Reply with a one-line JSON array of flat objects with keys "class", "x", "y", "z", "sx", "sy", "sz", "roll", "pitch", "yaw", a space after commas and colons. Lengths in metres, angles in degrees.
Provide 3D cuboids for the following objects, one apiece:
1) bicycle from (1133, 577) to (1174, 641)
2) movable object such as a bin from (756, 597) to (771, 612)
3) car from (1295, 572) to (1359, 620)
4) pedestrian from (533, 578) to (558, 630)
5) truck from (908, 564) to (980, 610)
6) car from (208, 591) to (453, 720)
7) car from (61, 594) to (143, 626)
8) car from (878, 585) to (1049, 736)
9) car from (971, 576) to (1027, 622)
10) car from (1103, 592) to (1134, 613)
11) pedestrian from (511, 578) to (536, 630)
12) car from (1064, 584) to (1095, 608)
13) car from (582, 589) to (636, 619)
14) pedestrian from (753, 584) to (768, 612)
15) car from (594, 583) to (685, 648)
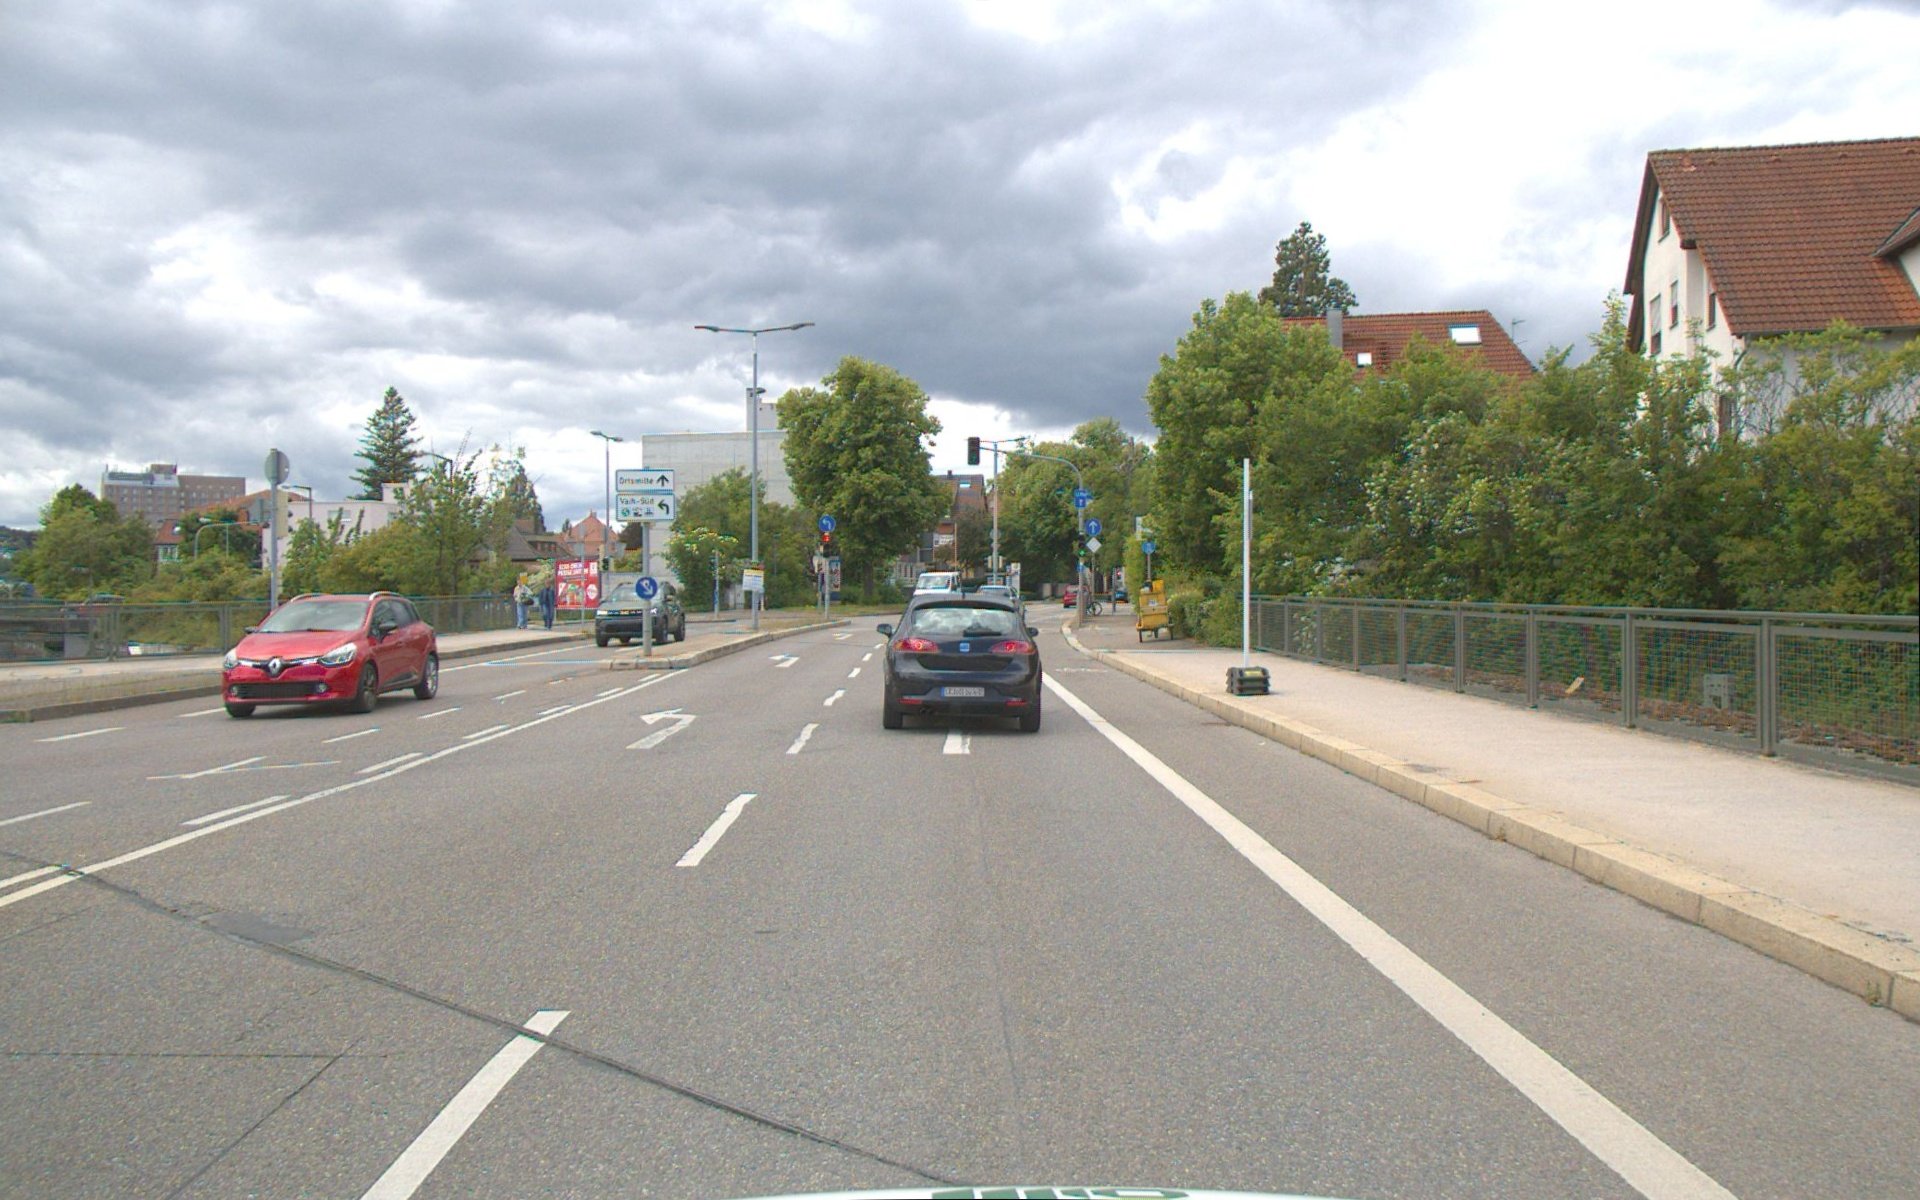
[{"class": "bicycle", "x": 4.914, "y": 0.200, "z": 42.230, "sx": 0.873, "sy": 1.537, "sz": 2.785, "roll": -3, "pitch": 1, "yaw": 5}, {"class": "movable object such as a bin", "x": -10.908, "y": 0.258, "z": 91.817, "sx": 0.641, "sy": 0.812, "sz": 0.898, "roll": -1, "pitch": 0, "yaw": 7}, {"class": "car", "x": 12.065, "y": -0.138, "z": 54.521, "sx": 1.632, "sy": 1.475, "sz": 4.003, "roll": -1, "pitch": 0, "yaw": 7}, {"class": "pedestrian", "x": -13.519, "y": 0.120, "z": 53.989, "sx": 0.643, "sy": 1.662, "sz": 1.069, "roll": 1, "pitch": 0, "yaw": -7}, {"class": "truck", "x": -0.785, "y": -0.701, "z": 88.610, "sx": 2.080, "sy": 2.304, "sz": 6.811, "roll": -1, "pitch": 0, "yaw": 15}, {"class": "car", "x": -8.080, "y": 0.648, "z": 21.621, "sx": 1.685, "sy": 1.473, "sz": 4.066, "roll": -2, "pitch": 0, "yaw": -1}, {"class": "car", "x": -51.783, "y": 0.599, "z": 99.881, "sx": 3.915, "sy": 1.691, "sz": 1.794, "roll": 2, "pitch": 1, "yaw": -10}, {"class": "car", "x": 0.126, "y": 0.602, "z": 18.802, "sx": 1.723, "sy": 1.474, "sz": 3.716, "roll": 2, "pitch": 1, "yaw": 3}, {"class": "car", "x": 1.564, "y": -0.069, "z": 65.081, "sx": 1.780, "sy": 1.729, "sz": 4.256, "roll": -1, "pitch": 1, "yaw": 7}, {"class": "car", "x": 13.455, "y": 0.172, "z": 140.585, "sx": 1.951, "sy": 1.713, "sz": 4.003, "roll": -1, "pitch": 0, "yaw": 15}, {"class": "pedestrian", "x": -14.210, "y": 0.131, "z": 53.833, "sx": 0.643, "sy": 1.662, "sz": 0.832, "roll": 1, "pitch": 0, "yaw": -7}, {"class": "car", "x": 7.771, "y": -0.272, "z": 108.056, "sx": 1.901, "sy": 1.507, "sz": 4.255, "roll": -1, "pitch": 1, "yaw": 3}, {"class": "car", "x": -24.615, "y": 0.288, "z": 116.179, "sx": 1.952, "sy": 2.049, "sz": 4.002, "roll": 2, "pitch": 0, "yaw": 18}, {"class": "pedestrian", "x": -10.992, "y": -0.102, "z": 91.129, "sx": 0.641, "sy": 1.549, "sz": 0.924, "roll": -1, "pitch": 0, "yaw": 7}, {"class": "car", "x": -8.555, "y": 0.374, "z": 44.463, "sx": 1.786, "sy": 1.655, "sz": 4.277, "roll": 0, "pitch": 0, "yaw": -2}]
